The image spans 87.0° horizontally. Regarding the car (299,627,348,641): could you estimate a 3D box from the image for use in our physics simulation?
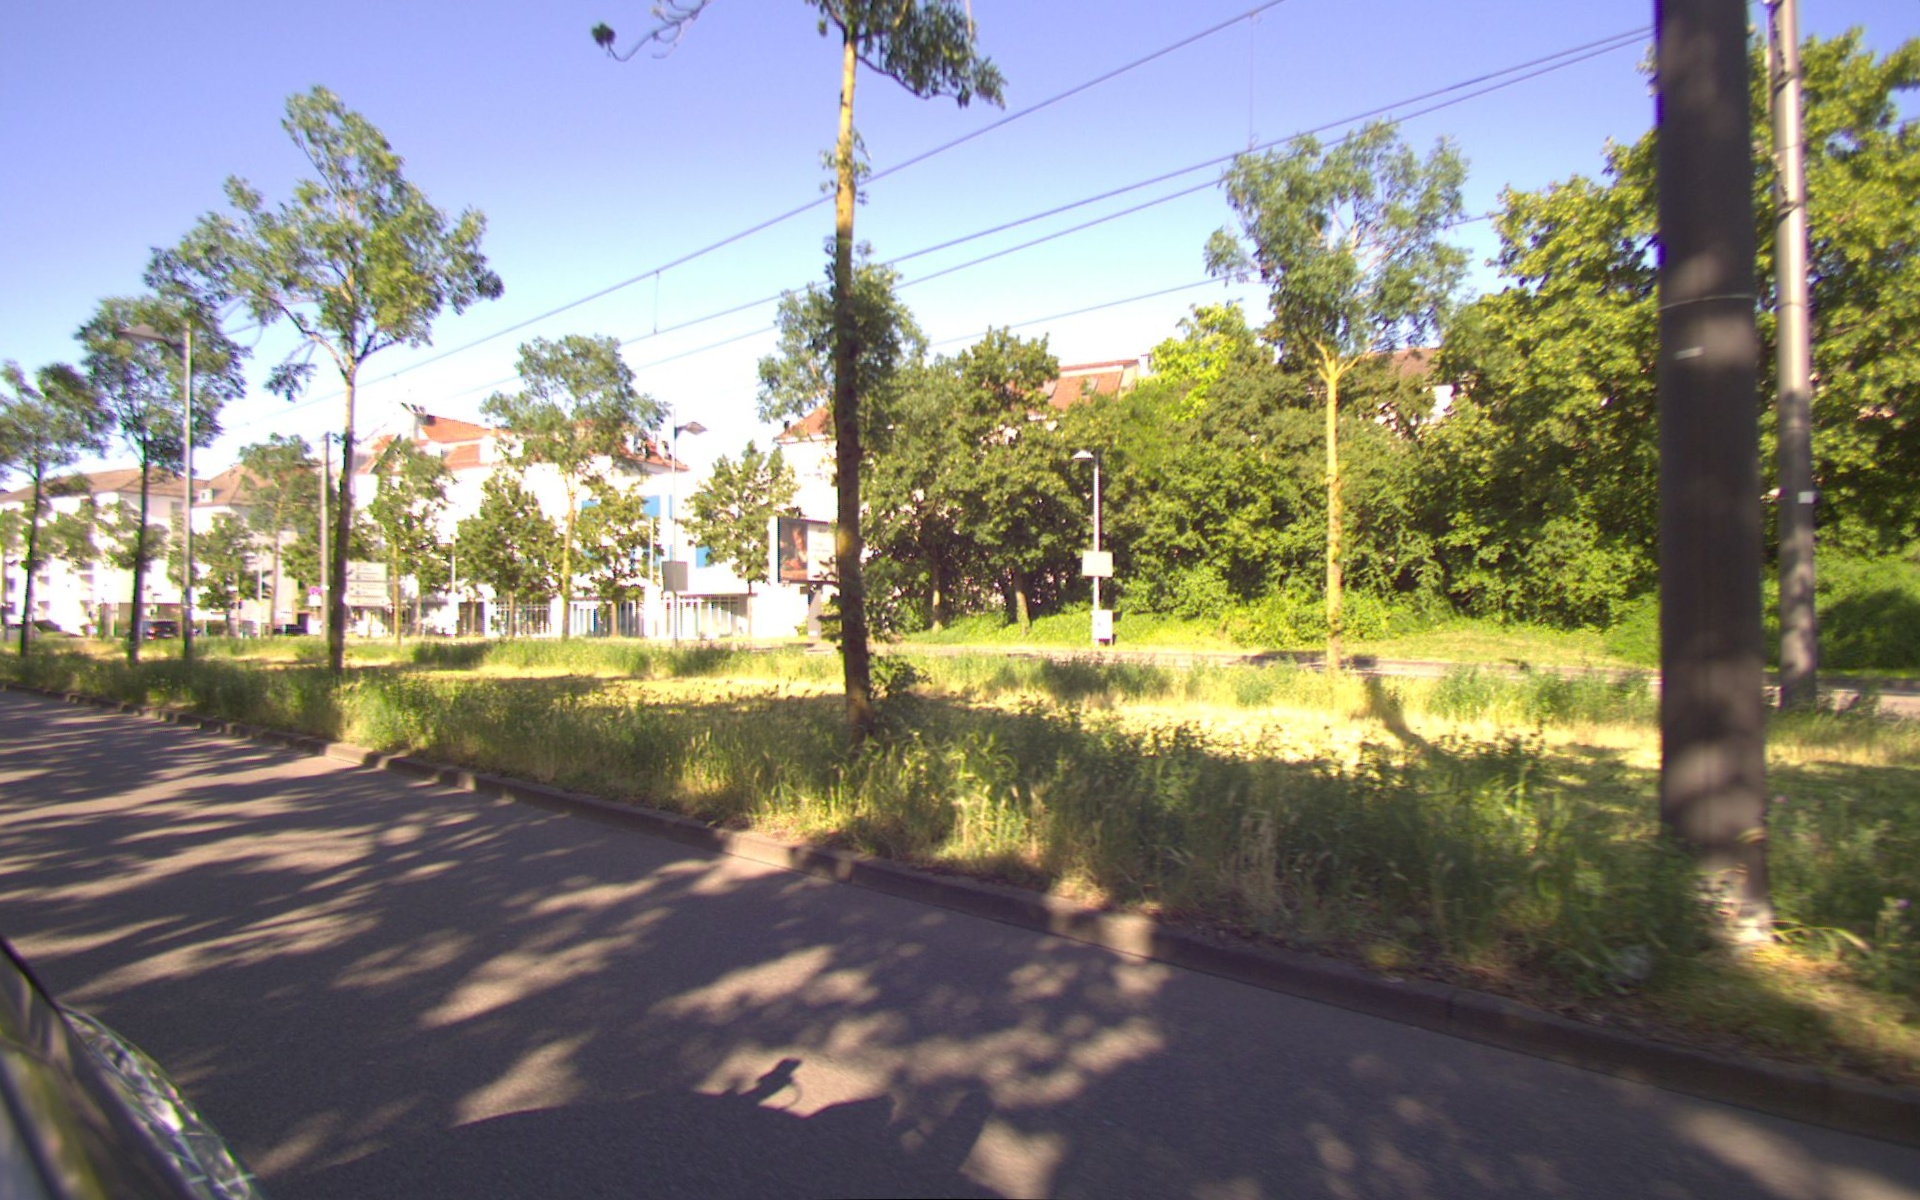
[{"bbox_3d":[-66.056,3.496,105.051,1.692,1.320,4.058,-1,-1,22],"label":"car"}]

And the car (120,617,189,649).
[{"bbox_3d":[-48.864,2.033,61.384,4.471,1.653,1.806,-5,-3,30],"label":"car"}]

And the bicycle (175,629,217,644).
[{"bbox_3d":[-60.330,2.890,79.921,0.780,1.168,2.556,-1,-1,28],"label":"bicycle"}]

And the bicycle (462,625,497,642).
[{"bbox_3d":[-37.312,2.579,78.554,0.716,1.222,2.527,-2,-1,29],"label":"bicycle"}]

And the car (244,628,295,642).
[{"bbox_3d":[-70.496,3.598,103.396,1.692,1.320,4.058,-1,-1,22],"label":"car"}]

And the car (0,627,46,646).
[{"bbox_3d":[-75.315,2.887,79.857,2.319,1.476,4.157,-1,-1,22],"label":"car"}]

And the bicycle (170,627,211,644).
[{"bbox_3d":[-61.132,2.842,80.447,0.659,1.319,2.556,-1,-1,28],"label":"bicycle"}]
